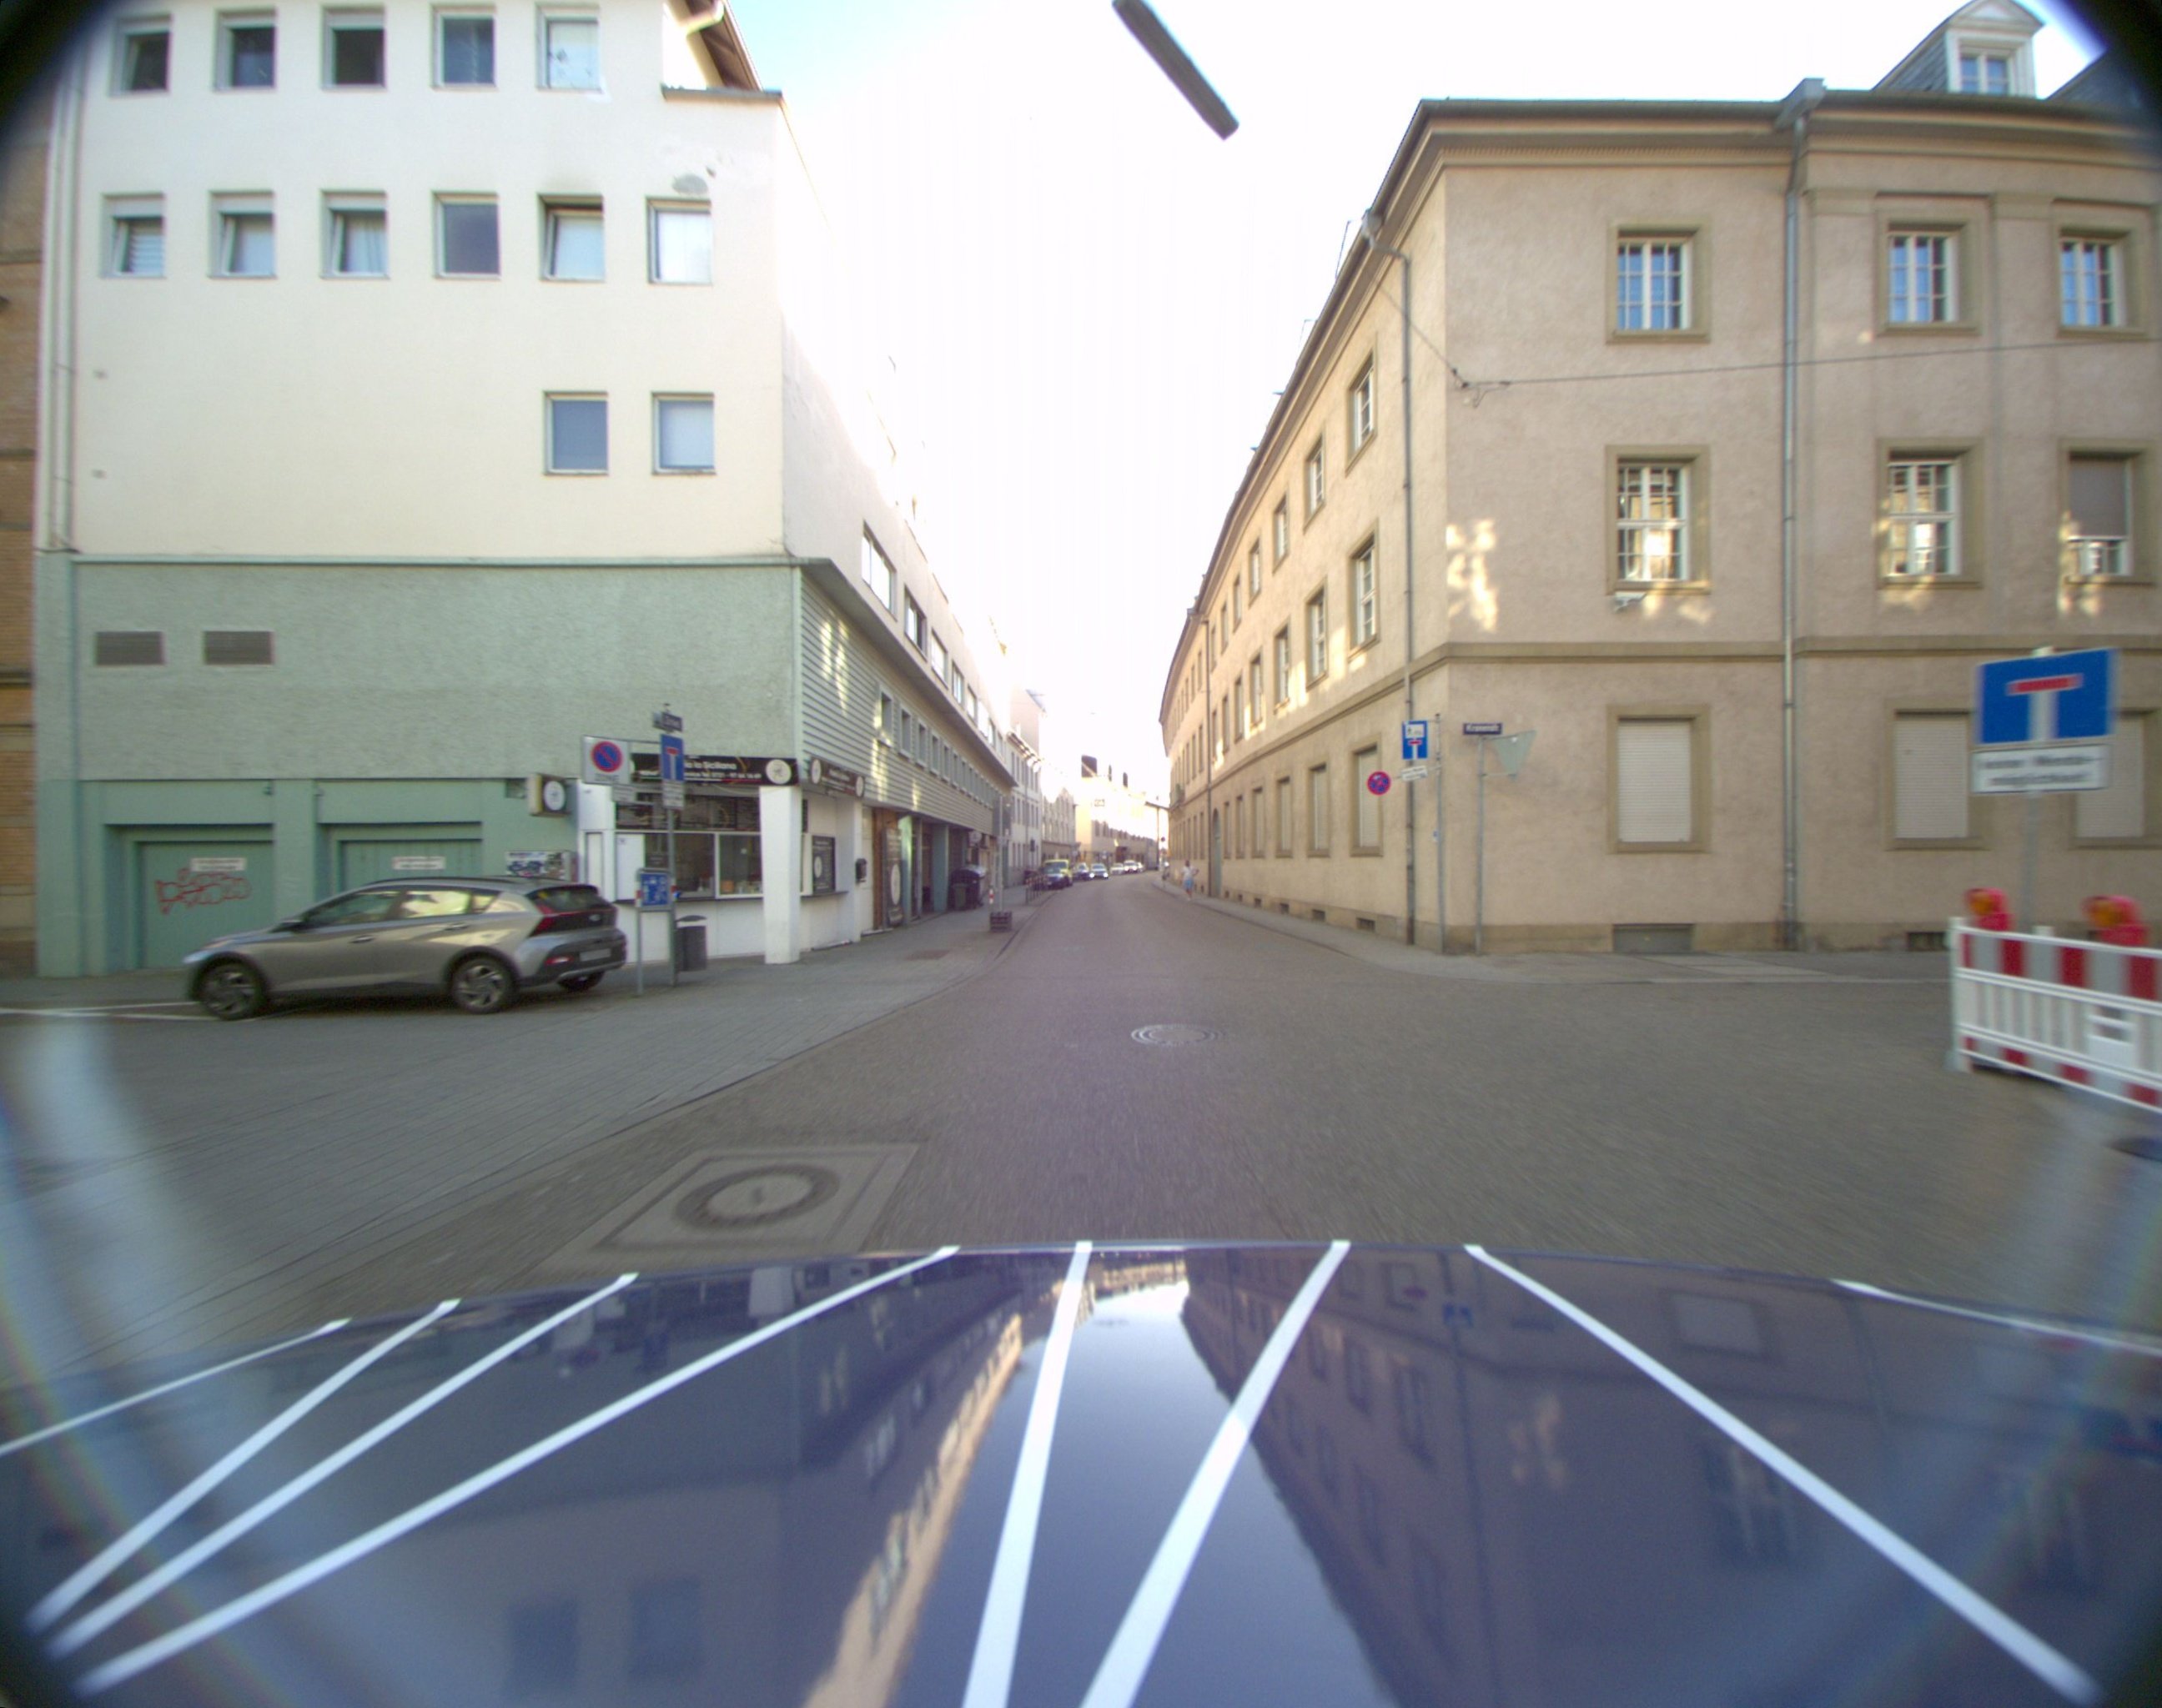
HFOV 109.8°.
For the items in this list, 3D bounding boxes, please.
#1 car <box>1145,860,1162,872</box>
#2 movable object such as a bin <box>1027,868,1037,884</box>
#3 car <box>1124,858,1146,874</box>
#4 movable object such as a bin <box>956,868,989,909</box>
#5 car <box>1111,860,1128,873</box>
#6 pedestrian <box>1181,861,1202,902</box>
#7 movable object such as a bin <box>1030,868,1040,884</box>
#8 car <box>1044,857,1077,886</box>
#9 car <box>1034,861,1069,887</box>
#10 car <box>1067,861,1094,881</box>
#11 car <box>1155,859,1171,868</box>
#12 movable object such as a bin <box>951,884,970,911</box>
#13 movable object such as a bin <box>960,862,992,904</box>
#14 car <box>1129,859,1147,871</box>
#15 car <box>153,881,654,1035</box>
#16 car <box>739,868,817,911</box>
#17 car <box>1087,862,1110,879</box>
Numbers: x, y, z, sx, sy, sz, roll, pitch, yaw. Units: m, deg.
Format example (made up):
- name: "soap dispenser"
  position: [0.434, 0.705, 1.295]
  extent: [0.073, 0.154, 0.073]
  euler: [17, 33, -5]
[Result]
- name: "car"
  position: [11.567, 1.914, 120.983]
  extent: [1.774, 1.574, 3.861]
  euler: [-5, -1, 17]
- name: "movable object such as a bin"
  position: [-3.533, 1.576, 54.528]
  extent: [0.607, 1.045, 0.708]
  euler: [4, 0, 2]
- name: "car"
  position: [7.510, 1.642, 104.860]
  extent: [1.946, 1.850, 5.201]
  euler: [-5, -1, 15]
- name: "movable object such as a bin"
  position: [-3.906, 1.219, 27.337]
  extent: [0.983, 1.377, 1.320]
  euler: [0, 2, 1]
- name: "car"
  position: [5.076, 1.639, 99.811]
  extent: [1.734, 1.539, 4.003]
  euler: [-2, -1, 10]
- name: "pedestrian"
  position: [4.677, 1.153, 32.149]
  extent: [0.694, 1.660, 0.875]
  euler: [-3, 0, 3]
- name: "movable object such as a bin"
  position: [-3.319, 1.596, 55.314]
  extent: [0.628, 1.045, 0.708]
  euler: [4, 0, -1]
- name: "car"
  position: [-1.382, 1.173, 53.045]
  extent: [1.887, 1.870, 4.847]
  euler: [-2, 0, 3]
- name: "car"
  position: [-1.761, 1.226, 47.236]
  extent: [1.888, 1.480, 4.368]
  euler: [-2, -1, 1]
- name: "car"
  position: [-0.026, 1.507, 69.044]
  extent: [1.828, 1.645, 4.496]
  euler: [-2, -1, 8]
- name: "car"
  position: [14.209, 1.562, 131.422]
  extent: [1.963, 1.399, 4.202]
  euler: [-3, 0, 18]
- name: "movable object such as a bin"
  position: [-4.182, 1.507, 26.401]
  extent: [0.558, 0.894, 0.523]
  euler: [0, 2, 1]
- name: "movable object such as a bin"
  position: [-3.999, 1.075, 28.970]
  extent: [0.983, 1.472, 1.551]
  euler: [0, 2, 1]
- name: "car"
  position: [8.411, 1.599, 111.735]
  extent: [1.774, 1.574, 3.861]
  euler: [-5, -1, 15]
- name: "car"
  position: [-7.580, 1.118, 8.866]
  extent: [4.089, 1.473, 1.865]
  euler: [-1, 0, -1]
- name: "car"
  position: [-11.052, 1.246, 27.917]
  extent: [1.587, 1.460, 3.398]
  euler: [0, 0, -2]
- name: "car"
  position: [1.781, 1.624, 75.384]
  extent: [1.829, 1.550, 3.988]
  euler: [-2, -1, 6]
